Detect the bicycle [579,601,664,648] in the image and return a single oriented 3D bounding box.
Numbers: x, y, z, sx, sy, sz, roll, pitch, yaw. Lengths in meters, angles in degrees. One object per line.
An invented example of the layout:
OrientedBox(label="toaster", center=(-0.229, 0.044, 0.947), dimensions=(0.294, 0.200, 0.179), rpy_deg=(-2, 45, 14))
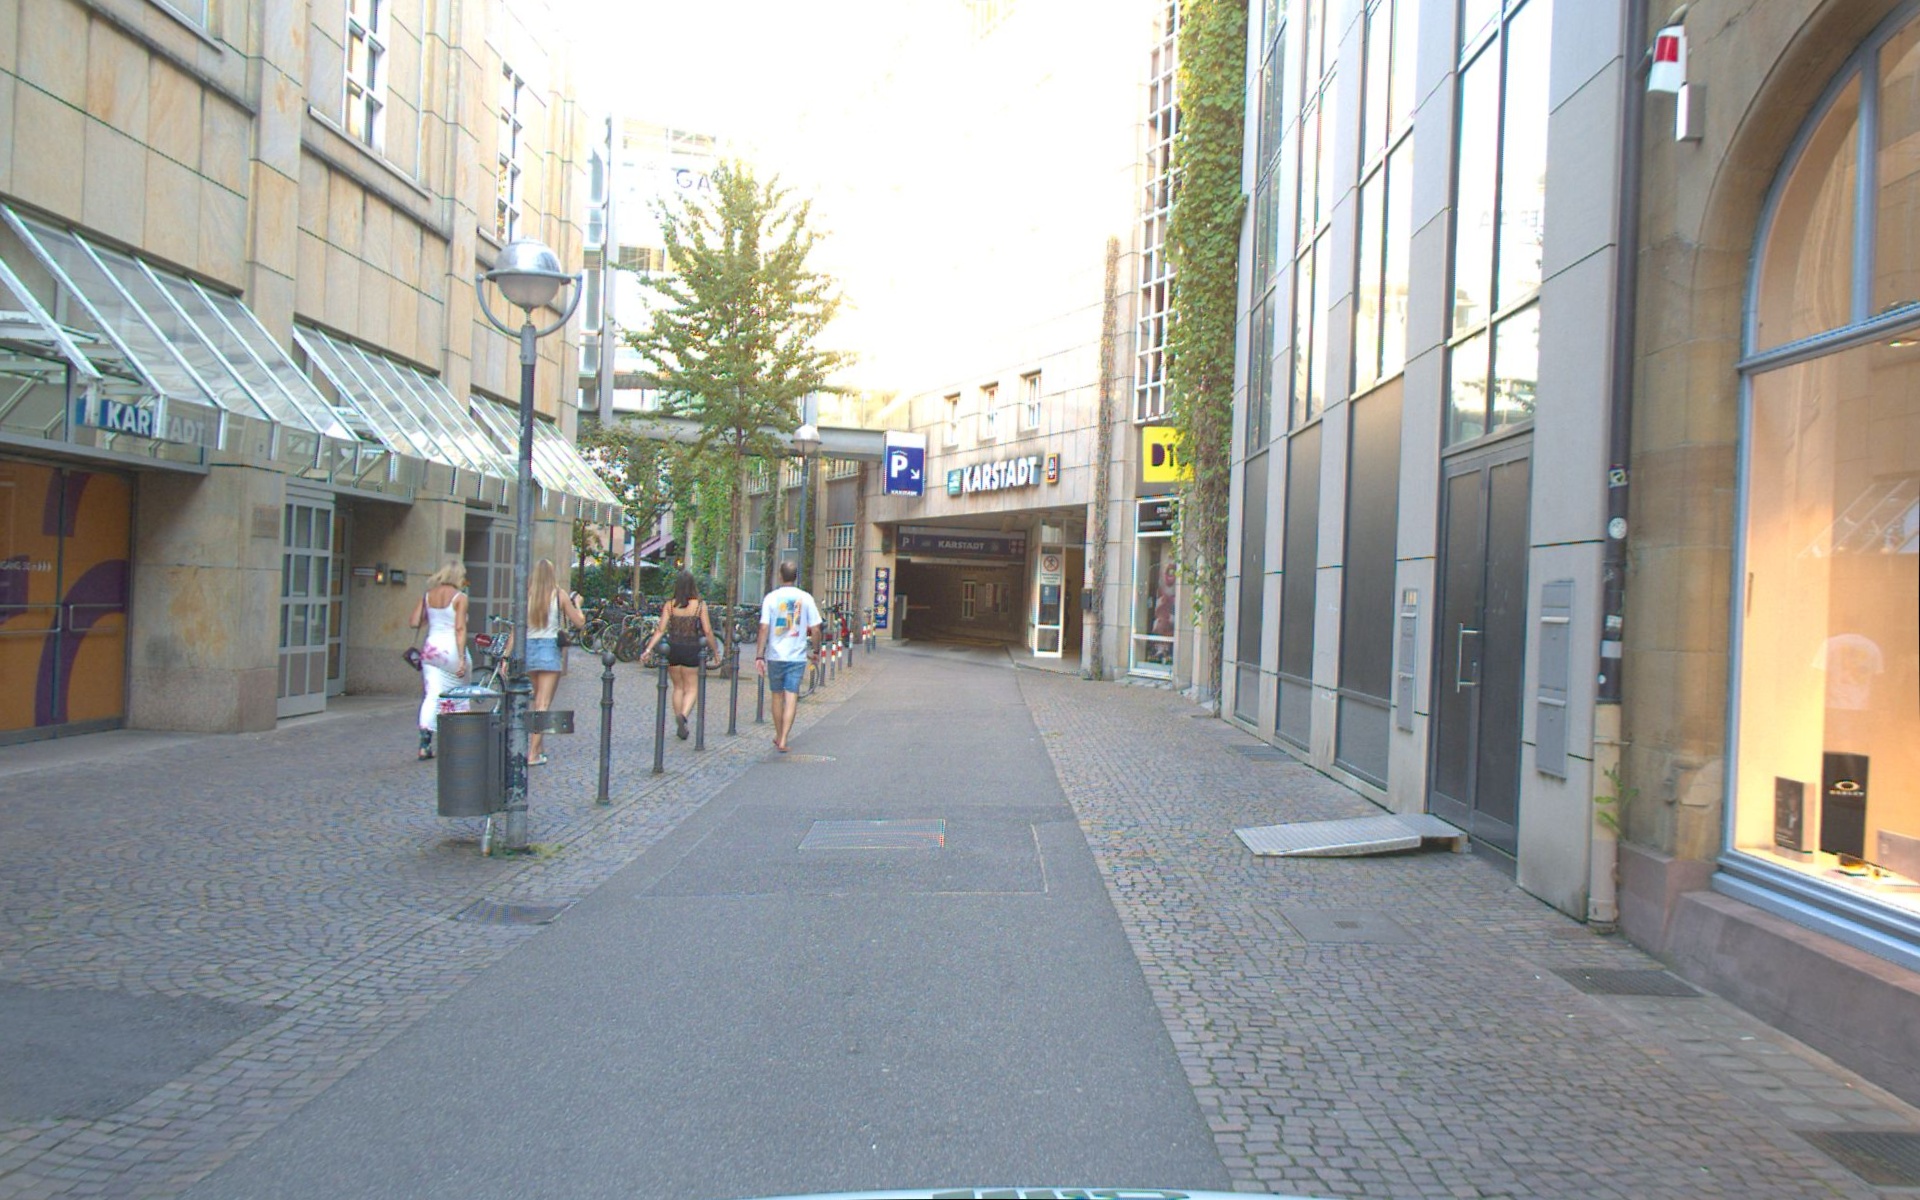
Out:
OrientedBox(label="bicycle", center=(-7.910, 0.577, 38.661), dimensions=(1.851, 1.061, 0.530), rpy_deg=(1, 0, -23))

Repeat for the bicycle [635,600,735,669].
OrientedBox(label="bicycle", center=(-5.079, 0.638, 30.561), dimensions=(1.742, 1.252, 0.530), rpy_deg=(1, 0, -23))

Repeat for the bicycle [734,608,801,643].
OrientedBox(label="bicycle", center=(-5.248, 0.690, 45.196), dimensions=(1.747, 0.920, 0.461), rpy_deg=(1, 0, -21))

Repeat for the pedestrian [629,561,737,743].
OrientedBox(label="pedestrian", center=(-2.882, 0.522, 17.292), dimensions=(0.768, 1.826, 0.973), rpy_deg=(1, 0, 12))

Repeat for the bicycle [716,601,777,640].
OrientedBox(label="bicycle", center=(-6.411, 0.613, 49.689), dimensions=(1.747, 1.134, 0.539), rpy_deg=(1, 0, -21))

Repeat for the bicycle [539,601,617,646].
OrientedBox(label="bicycle", center=(-9.327, 0.581, 40.413), dimensions=(1.799, 1.061, 0.530), rpy_deg=(1, 0, -23))

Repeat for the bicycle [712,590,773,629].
OrientedBox(label="bicycle", center=(-6.669, 0.281, 50.765), dimensions=(1.747, 1.134, 0.539), rpy_deg=(2, 0, -21))

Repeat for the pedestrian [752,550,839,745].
OrientedBox(label="pedestrian", center=(-1.619, 0.455, 16.371), dimensions=(0.727, 1.854, 0.878), rpy_deg=(1, 0, 0))

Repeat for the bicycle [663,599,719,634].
OrientedBox(label="bicycle", center=(-8.978, 0.561, 55.240), dimensions=(1.747, 1.134, 0.539), rpy_deg=(1, 0, -21))

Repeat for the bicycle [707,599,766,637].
OrientedBox(label="bicycle", center=(-7.024, 0.560, 51.962), dimensions=(1.747, 1.134, 0.539), rpy_deg=(1, 0, -21))

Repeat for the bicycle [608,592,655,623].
OrientedBox(label="bicycle", center=(-13.147, 0.311, 66.189), dimensions=(1.747, 1.211, 0.583), rpy_deg=(1, 0, -21))

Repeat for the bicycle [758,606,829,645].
OrientedBox(label="bicycle", center=(-4.465, 0.684, 44.349), dimensions=(1.821, 0.999, 0.461), rpy_deg=(1, 0, -21))

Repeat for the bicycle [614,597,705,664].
OrientedBox(label="bicycle", center=(-5.780, 0.582, 31.837), dimensions=(1.631, 1.252, 0.530), rpy_deg=(1, 0, -23))

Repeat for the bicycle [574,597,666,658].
OrientedBox(label="bicycle", center=(-7.166, 0.579, 34.880), dimensions=(1.808, 1.246, 0.530), rpy_deg=(1, 0, -23))

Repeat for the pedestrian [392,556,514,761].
OrientedBox(label="pedestrian", center=(-4.374, 0.492, 14.318), dimensions=(0.660, 1.693, 0.861), rpy_deg=(2, 0, 7))

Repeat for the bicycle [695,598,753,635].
OrientedBox(label="bicycle", center=(-7.558, 0.529, 52.991), dimensions=(1.747, 1.134, 0.539), rpy_deg=(1, 0, -21))

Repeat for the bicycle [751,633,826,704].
OrientedBox(label="bicycle", center=(-2.482, 0.974, 24.127), dimensions=(0.482, 0.955, 1.660), rpy_deg=(3, 0, 15))

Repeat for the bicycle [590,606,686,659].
OrientedBox(label="bicycle", center=(-6.660, 0.680, 34.208), dimensions=(1.868, 1.070, 0.530), rpy_deg=(1, 0, -23))

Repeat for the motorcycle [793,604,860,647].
OrientedBox(label="motorcycle", center=(-3.454, 0.656, 42.786), dimensions=(1.638, 1.069, 0.461), rpy_deg=(1, 0, -21))

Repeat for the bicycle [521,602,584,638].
OrientedBox(label="bicycle", center=(-12.063, 0.587, 48.952), dimensions=(1.755, 1.037, 0.478), rpy_deg=(1, 0, -23))

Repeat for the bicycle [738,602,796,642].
OrientedBox(label="bicycle", center=(-5.390, 0.607, 46.146), dimensions=(1.517, 1.067, 0.572), rpy_deg=(1, 0, -21))

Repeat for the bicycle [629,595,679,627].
OrientedBox(label="bicycle", center=(-11.299, 0.404, 61.005), dimensions=(1.746, 1.134, 0.540), rpy_deg=(1, 0, -18))

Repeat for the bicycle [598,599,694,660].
OrientedBox(label="bicycle", center=(-6.384, 0.606, 33.679), dimensions=(1.846, 1.198, 0.530), rpy_deg=(1, 0, -23))

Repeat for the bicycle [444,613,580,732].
OrientedBox(label="bicycle", center=(-4.655, 0.730, 17.304), dimensions=(0.510, 1.158, 1.765), rpy_deg=(1, 0, 16))

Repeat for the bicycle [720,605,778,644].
OrientedBox(label="bicycle", center=(-6.012, 0.705, 47.120), dimensions=(1.517, 1.067, 0.572), rpy_deg=(1, 0, -21))

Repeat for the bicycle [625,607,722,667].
OrientedBox(label="bicycle", center=(-5.671, 0.735, 32.728), dimensions=(1.811, 1.142, 0.530), rpy_deg=(1, 0, -23))

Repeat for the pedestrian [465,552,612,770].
OrientedBox(label="pedestrian", center=(-3.579, 0.498, 14.105), dimensions=(0.789, 1.760, 0.949), rpy_deg=(2, 0, 15))
